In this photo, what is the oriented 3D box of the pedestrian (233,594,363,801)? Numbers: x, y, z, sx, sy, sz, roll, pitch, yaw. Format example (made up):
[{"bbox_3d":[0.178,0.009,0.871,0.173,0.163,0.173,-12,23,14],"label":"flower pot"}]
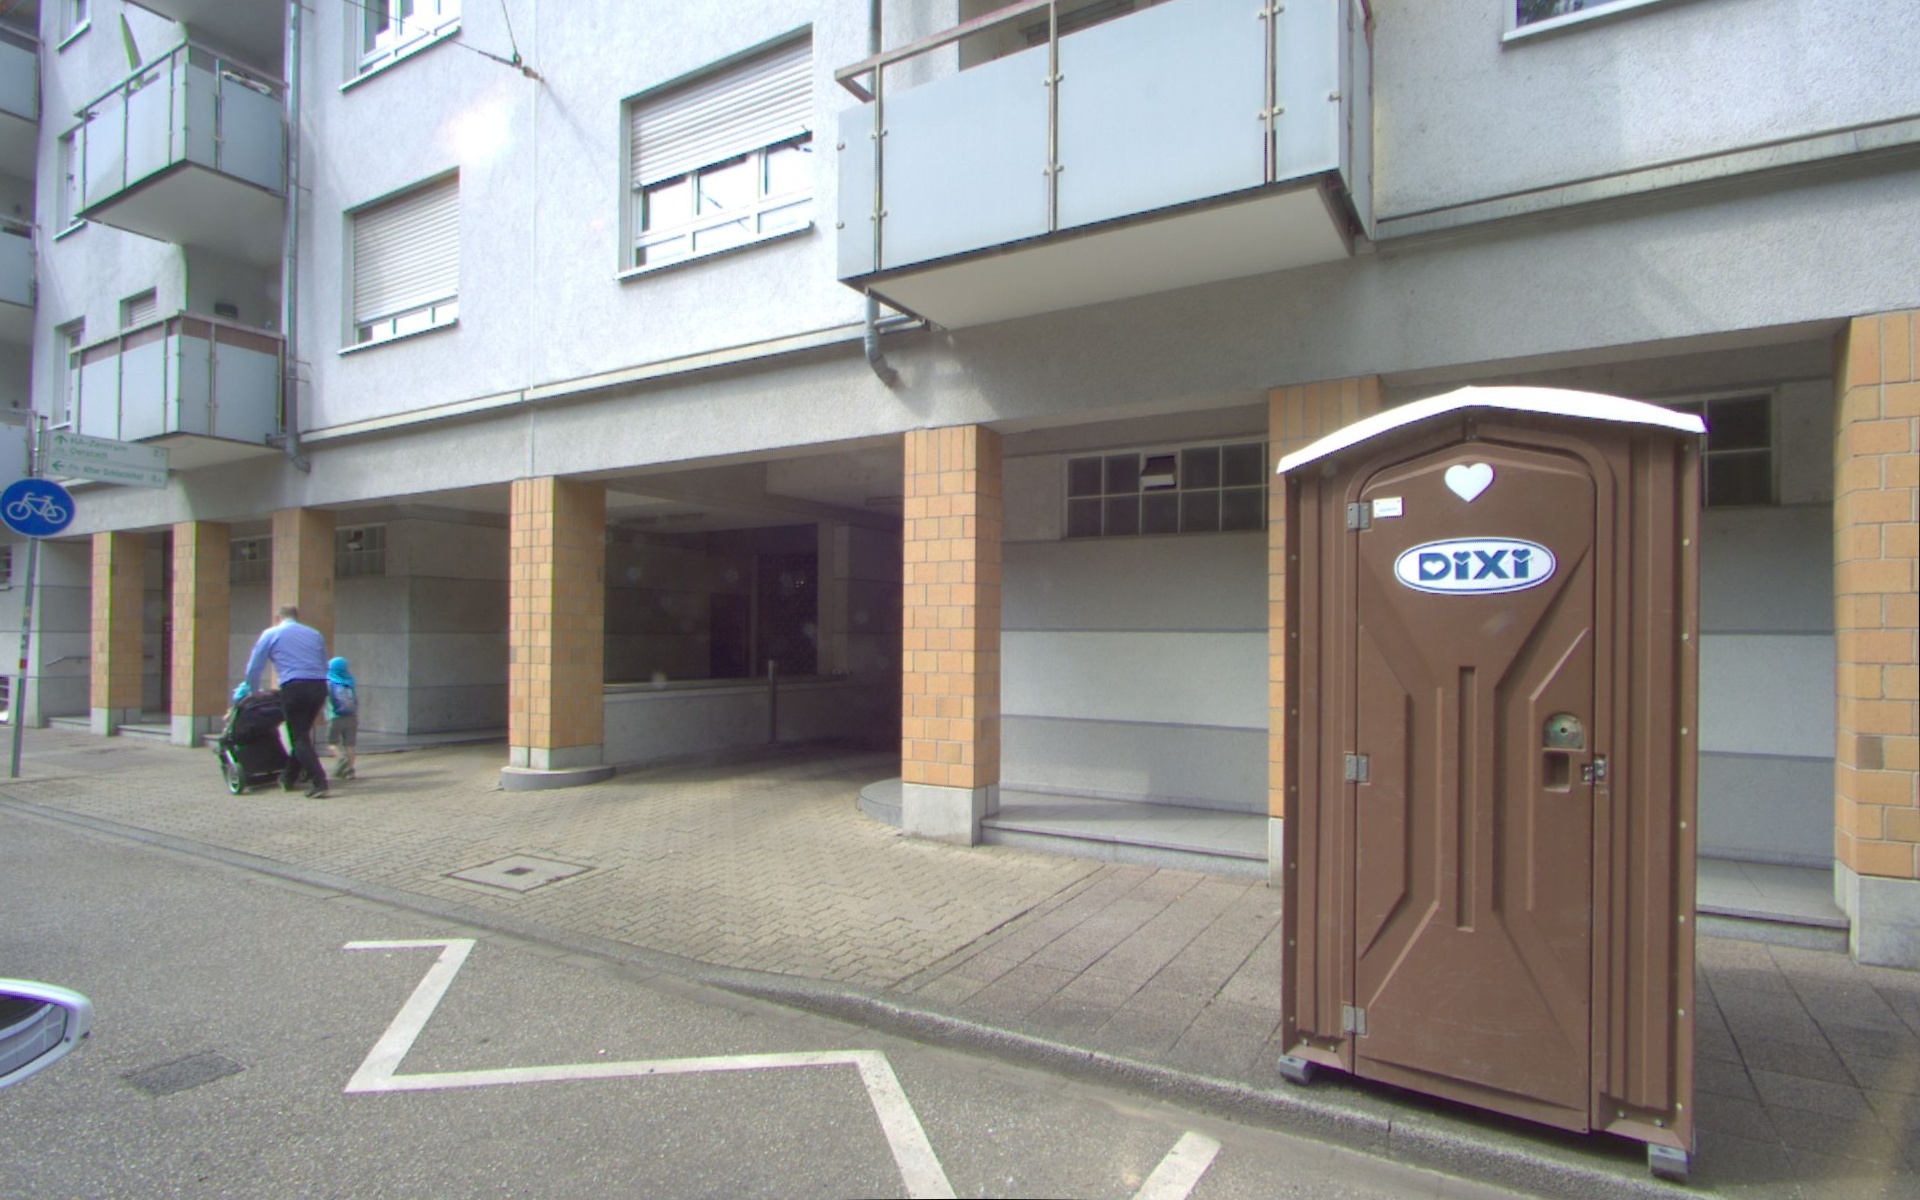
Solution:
[{"bbox_3d":[-5.976,0.841,9.044,0.865,1.762,0.619,0,2,32],"label":"pedestrian"}]

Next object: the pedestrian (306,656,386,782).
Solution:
[{"bbox_3d":[-5.982,1.138,9.759,0.487,1.150,0.455,0,2,32],"label":"pedestrian"}]

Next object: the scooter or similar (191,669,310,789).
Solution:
[{"bbox_3d":[-6.772,1.206,9.556,0.893,1.016,0.591,-1,2,32],"label":"scooter or similar"}]
